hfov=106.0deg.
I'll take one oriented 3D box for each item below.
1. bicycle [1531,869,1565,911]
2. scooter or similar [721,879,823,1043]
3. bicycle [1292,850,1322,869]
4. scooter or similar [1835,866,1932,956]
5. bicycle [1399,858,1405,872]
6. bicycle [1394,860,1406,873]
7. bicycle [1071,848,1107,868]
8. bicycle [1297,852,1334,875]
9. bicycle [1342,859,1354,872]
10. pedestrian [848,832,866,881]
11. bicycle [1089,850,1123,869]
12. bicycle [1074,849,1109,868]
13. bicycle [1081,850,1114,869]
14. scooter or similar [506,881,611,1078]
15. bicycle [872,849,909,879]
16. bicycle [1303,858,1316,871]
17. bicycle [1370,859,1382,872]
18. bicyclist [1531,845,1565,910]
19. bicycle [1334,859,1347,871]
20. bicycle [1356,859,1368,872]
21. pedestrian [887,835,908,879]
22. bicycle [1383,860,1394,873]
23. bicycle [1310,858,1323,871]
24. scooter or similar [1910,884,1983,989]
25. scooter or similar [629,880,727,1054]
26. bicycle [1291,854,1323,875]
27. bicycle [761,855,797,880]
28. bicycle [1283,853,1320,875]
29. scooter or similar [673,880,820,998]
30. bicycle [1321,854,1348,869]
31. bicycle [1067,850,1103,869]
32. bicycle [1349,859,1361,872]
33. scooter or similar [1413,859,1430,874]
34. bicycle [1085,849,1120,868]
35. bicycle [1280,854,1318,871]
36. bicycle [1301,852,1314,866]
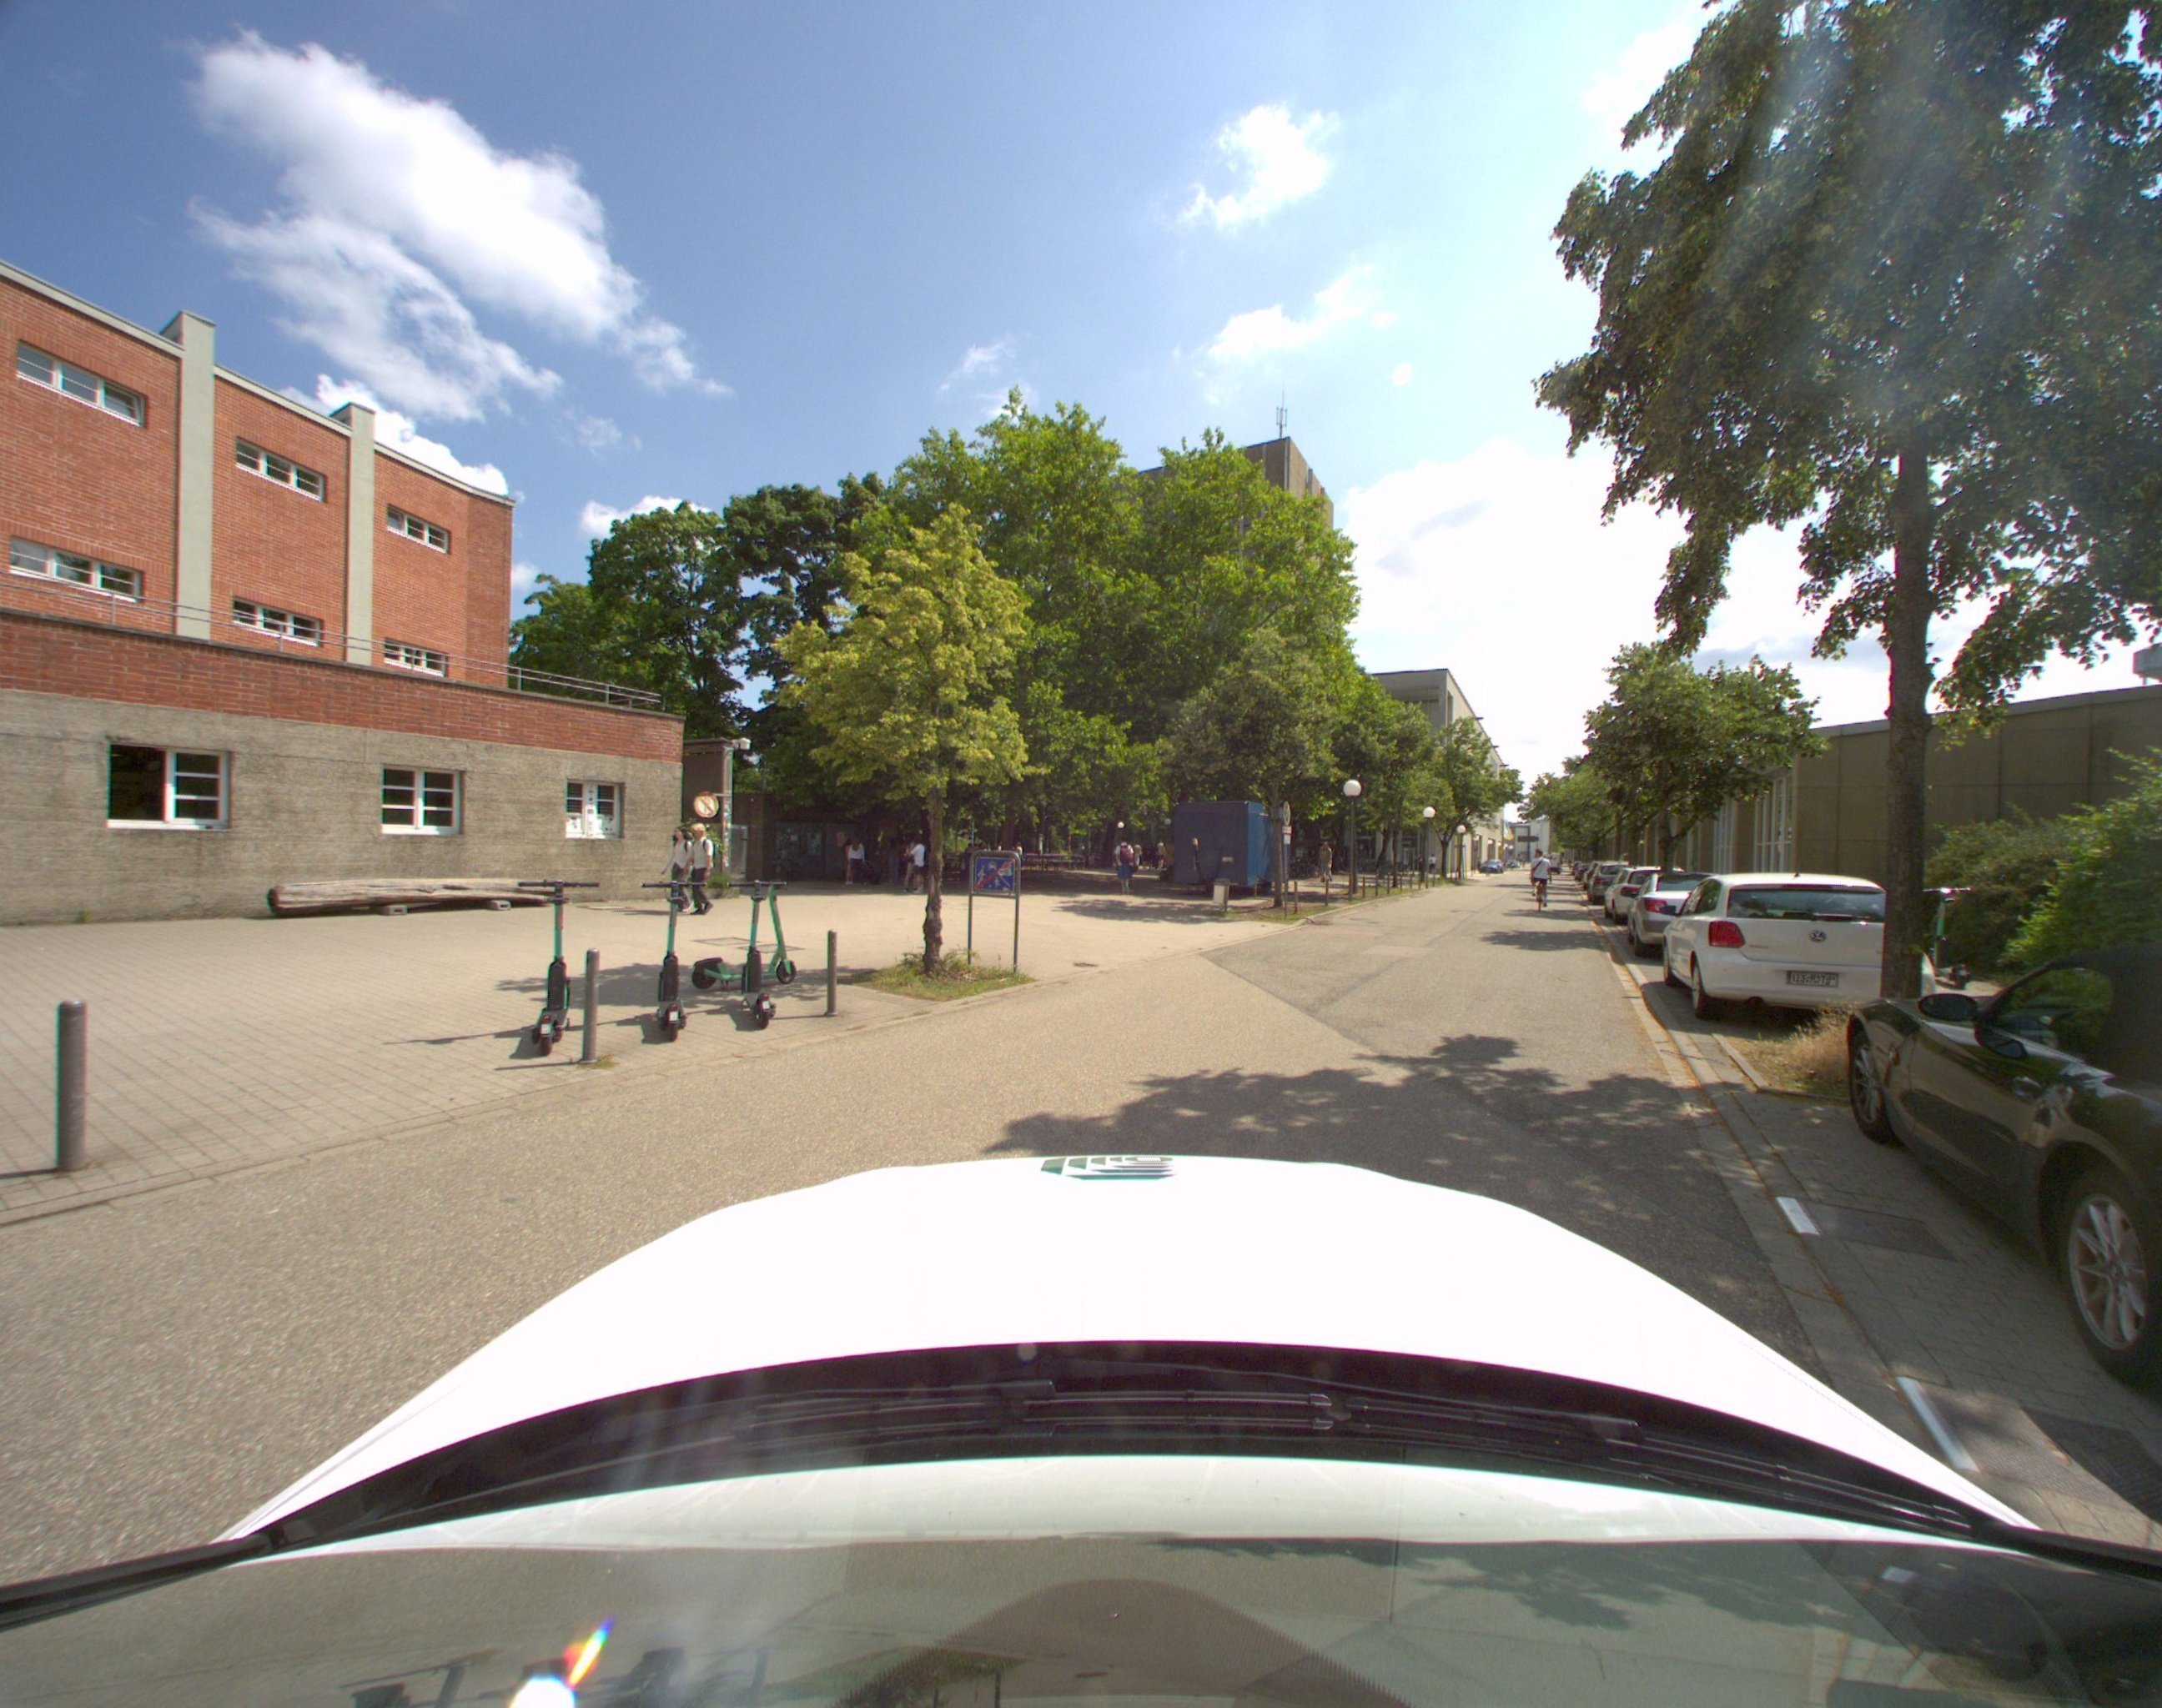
[{"bbox_3d":[14.941,1.123,26.108,0.874,1.199,2.766,2,1,29],"label":"bicycle"},{"bbox_3d":[-2.770,0.869,7.212,0.526,1.225,1.559,1,0,-32],"label":"scooter or similar"},{"bbox_3d":[18.501,0.440,66.698,2.277,1.450,0.606,2,0,-2],"label":"bicycle"},{"bbox_3d":[12.129,0.836,12.317,1.267,1.266,0.592,-1,1,-22],"label":"scooter or similar"},{"bbox_3d":[25.001,0.861,63.445,0.378,1.025,1.824,2,0,19],"label":"bicycle"},{"bbox_3d":[27.207,1.043,69.484,0.547,1.086,1.985,3,1,31],"label":"bicycle"},{"bbox_3d":[0.467,0.229,47.804,1.990,1.118,0.588,1,0,22],"label":"bicycle"},{"bbox_3d":[14.020,0.585,48.814,2.040,1.234,0.812,3,1,13],"label":"bicycle"},{"bbox_3d":[23.507,0.976,71.765,0.547,1.086,1.985,3,1,31],"label":"bicycle"},{"bbox_3d":[-7.990,0.070,29.044,0.529,1.710,0.446,2,1,-13],"label":"pedestrian"},{"bbox_3d":[1.524,0.309,49.947,1.990,1.118,0.588,1,0,22],"label":"bicycle"},{"bbox_3d":[0.624,0.253,48.639,1.990,1.118,0.588,1,0,22],"label":"bicycle"},{"bbox_3d":[1.041,0.345,51.856,1.990,1.118,0.588,1,0,22],"label":"bicycle"},{"bbox_3d":[-3.935,0.850,6.172,0.572,1.225,1.559,1,0,-32],"label":"scooter or similar"},{"bbox_3d":[-7.271,0.390,31.092,1.347,1.077,0.415,2,-2,-13],"label":"bicycle"},{"bbox_3d":[20.638,0.923,73.506,0.547,1.086,1.985,3,1,31],"label":"bicycle"},{"bbox_3d":[25.704,1.028,70.957,0.547,1.086,1.985,3,1,31],"label":"bicycle"},{"bbox_3d":[14.951,0.725,26.095,0.865,2.013,0.855,2,0,29],"label":"bicyclist"},{"bbox_3d":[23.017,0.970,72.206,0.547,1.086,1.985,3,1,31],"label":"bicycle"},{"bbox_3d":[24.553,0.998,71.249,0.547,1.086,1.985,3,1,31],"label":"bicycle"},{"bbox_3d":[-7.000,0.113,31.115,0.676,1.650,0.502,2,1,-8],"label":"pedestrian"},{"bbox_3d":[26.498,1.035,70.135,0.547,1.086,1.985,3,1,31],"label":"bicycle"},{"bbox_3d":[21.171,0.934,73.217,0.547,1.086,1.985,3,1,31],"label":"bicycle"},{"bbox_3d":[11.147,1.023,10.513,0.515,1.221,1.244,0,0,41],"label":"scooter or similar"},{"bbox_3d":[-3.424,0.864,6.862,0.567,1.225,1.559,1,0,-32],"label":"scooter or similar"},{"bbox_3d":[12.921,0.586,46.602,1.761,1.131,0.460,2,1,13],"label":"bicycle"},{"bbox_3d":[-10.828,0.481,29.236,0.301,0.883,1.239,1,0,32],"label":"bicycle"},{"bbox_3d":[13.015,0.593,48.153,2.039,1.234,0.812,2,1,13],"label":"bicycle"},{"bbox_3d":[-3.628,0.880,8.906,0.558,1.149,1.358,1,0,43],"label":"scooter or similar"},{"bbox_3d":[20.808,0.613,66.773,2.008,1.254,0.587,0,0,-2],"label":"bicycle"},{"bbox_3d":[0.235,0.310,46.841,1.990,1.008,0.588,1,0,22],"label":"bicycle"},{"bbox_3d":[24.038,0.986,71.479,0.547,1.086,1.985,3,1,31],"label":"bicycle"},{"bbox_3d":[26.431,0.968,63.209,1.330,1.175,0.337,2,1,-24],"label":"scooter or similar"},{"bbox_3d":[1.308,0.286,49.195,1.990,1.118,0.588,1,0,22],"label":"bicycle"},{"bbox_3d":[13.550,0.514,50.626,2.139,1.008,0.678,2,1,1],"label":"bicycle"},{"bbox_3d":[20.353,0.459,73.131,0.520,1.253,2.396,1,0,32],"label":"bicycle"}]
